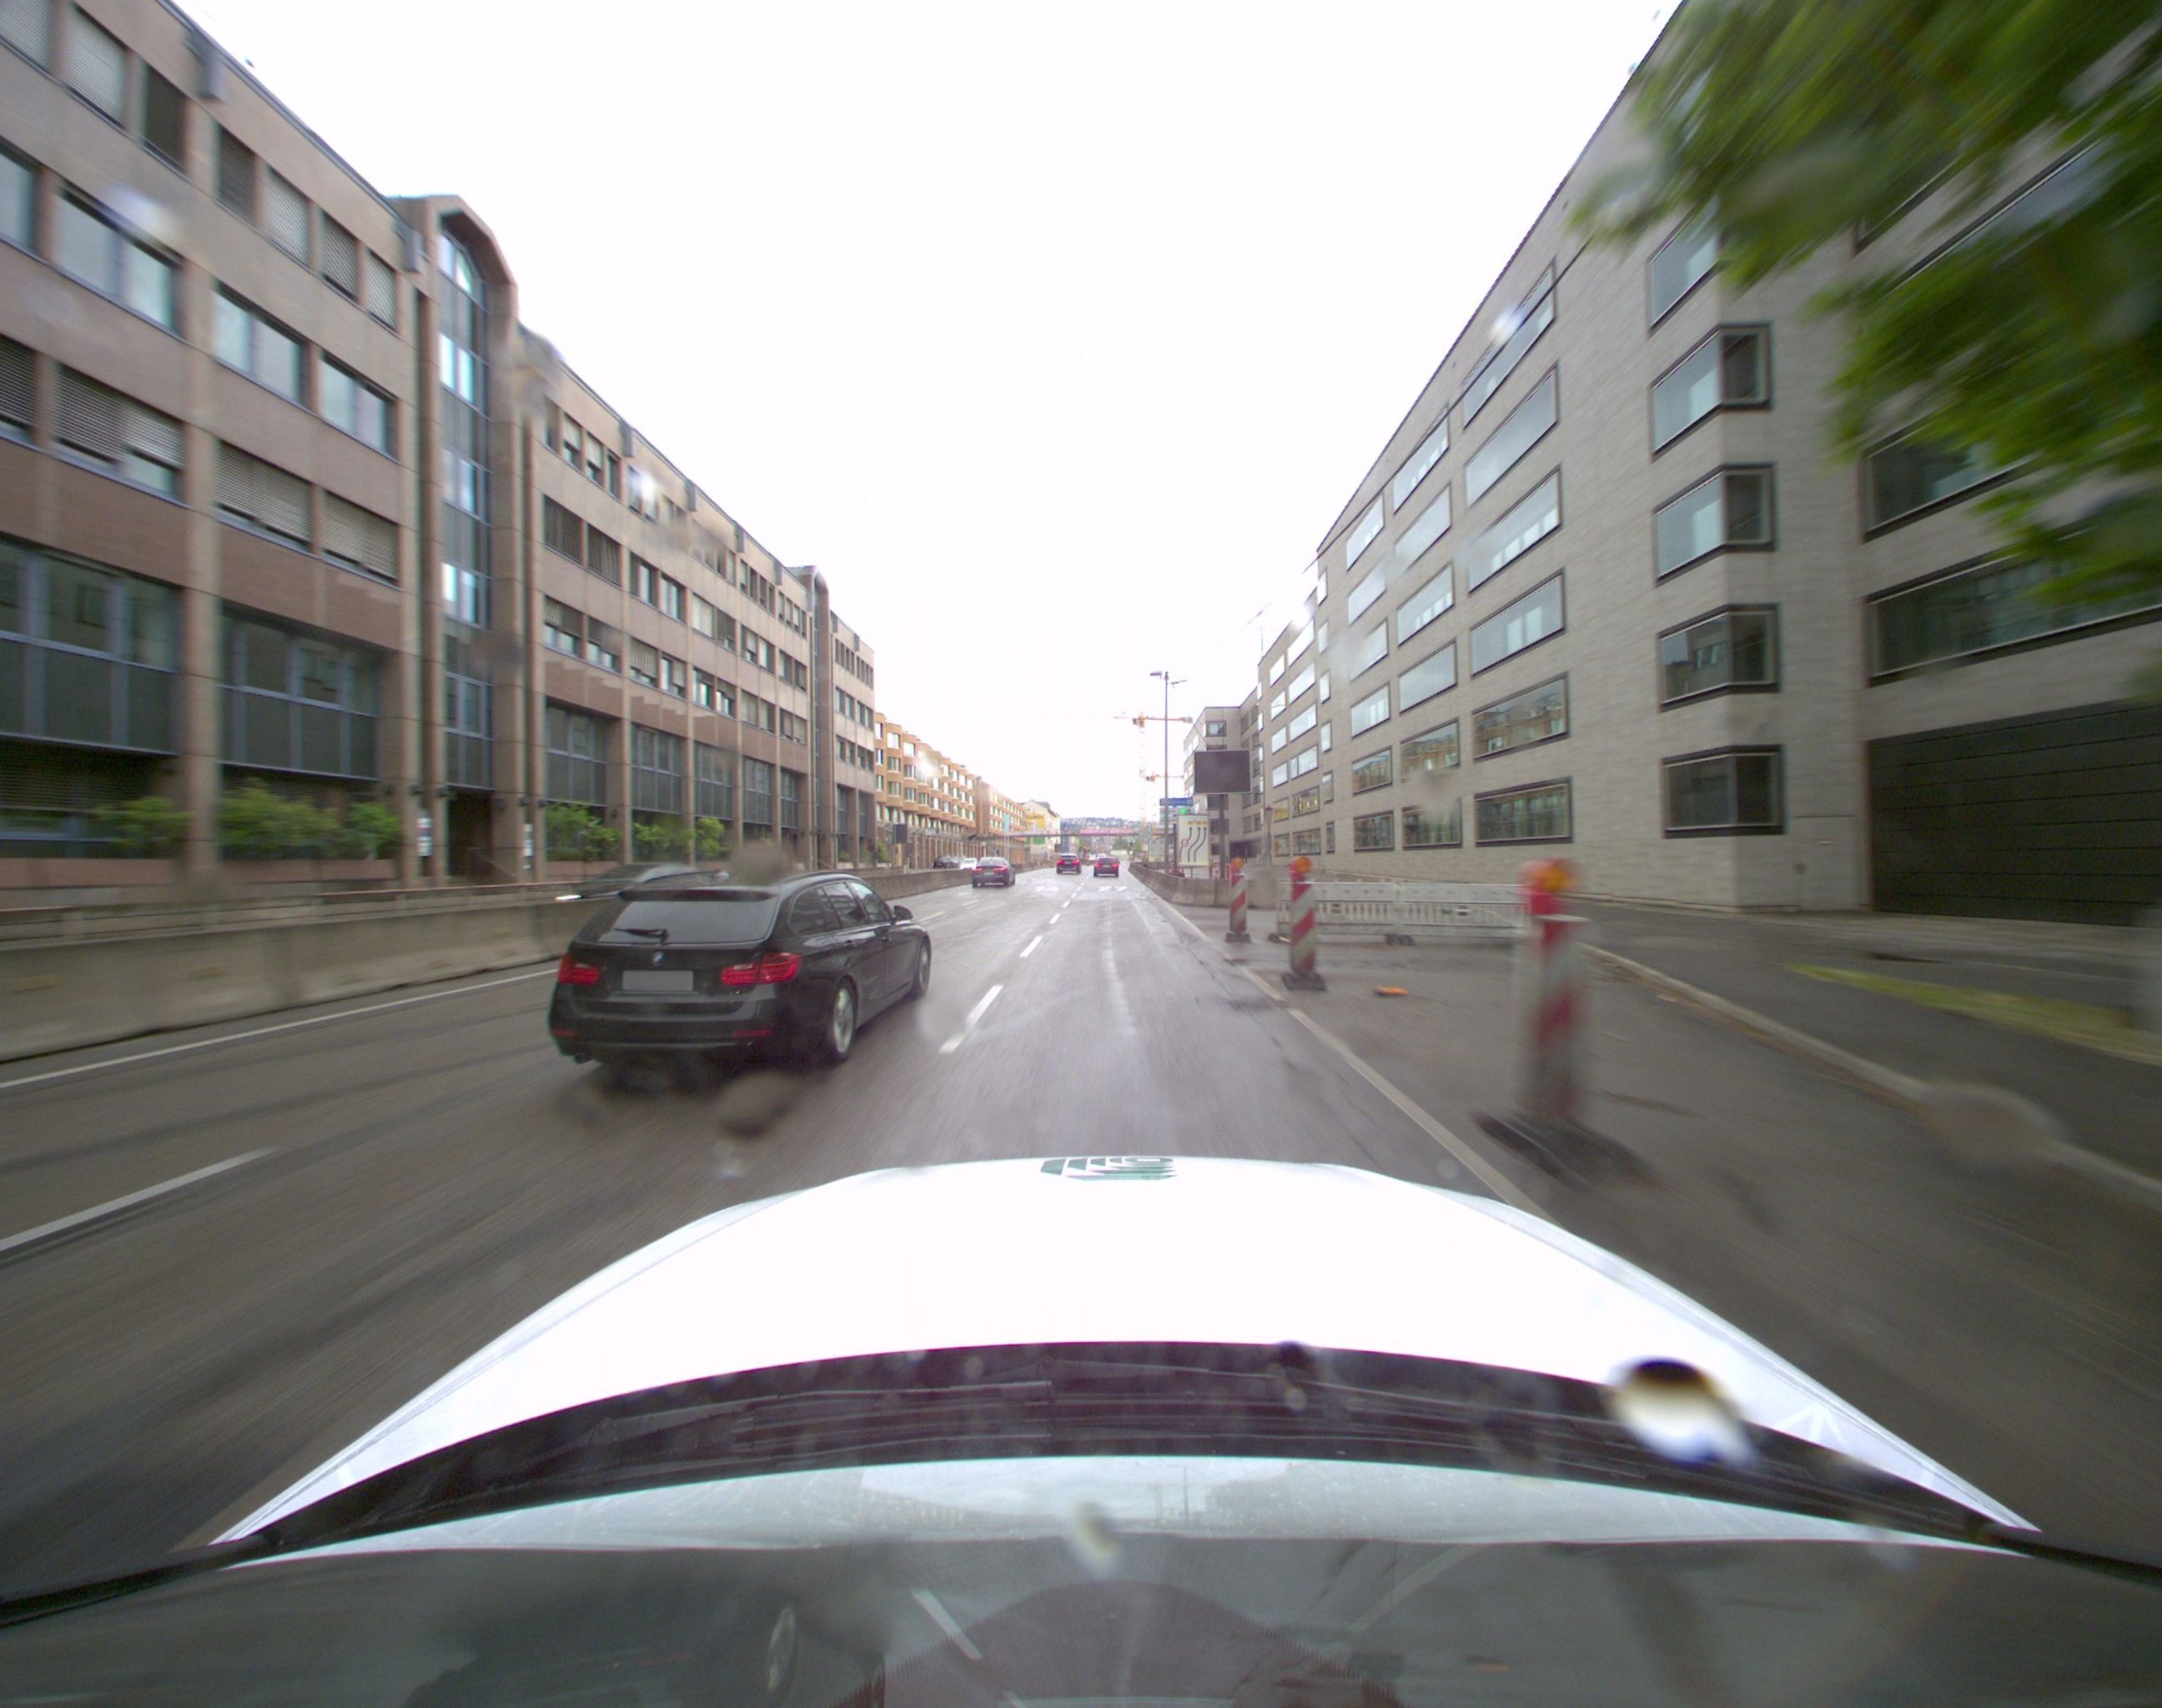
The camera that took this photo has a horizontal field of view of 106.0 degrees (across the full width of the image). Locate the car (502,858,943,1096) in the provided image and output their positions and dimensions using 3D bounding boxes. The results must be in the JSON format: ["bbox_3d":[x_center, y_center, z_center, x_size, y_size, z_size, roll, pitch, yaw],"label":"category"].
[{"bbox_3d":[-2.568,0.758,7.253,1.785,1.426,4.614,0,0,1],"label":"car"}]

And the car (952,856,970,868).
[{"bbox_3d":[-18.240,1.210,123.871,1.986,1.620,4.320,-1,0,2],"label":"car"}]

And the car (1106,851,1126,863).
[{"bbox_3d":[5.281,0.418,122.580,1.884,1.693,4.020,-2,-1,20],"label":"car"}]

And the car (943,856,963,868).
[{"bbox_3d":[-18.599,1.180,118.742,1.986,1.620,4.320,-1,0,2],"label":"car"}]

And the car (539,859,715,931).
[{"bbox_3d":[-10.833,0.904,19.852,1.854,1.533,4.231,-1,0,1],"label":"car"}]

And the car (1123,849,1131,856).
[{"bbox_3d":[12.218,-0.404,214.653,1.891,1.693,4.005,-1,0,5],"label":"car"}]

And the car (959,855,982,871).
[{"bbox_3d":[-10.919,0.863,80.801,1.596,1.442,3.659,-1,1,2],"label":"car"}]

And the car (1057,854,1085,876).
[{"bbox_3d":[-0.806,0.898,67.196,1.891,1.693,4.005,-1,0,5],"label":"car"}]

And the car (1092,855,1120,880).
[{"bbox_3d":[1.861,0.952,59.312,1.892,1.693,4.004,-1,0,4],"label":"car"}]

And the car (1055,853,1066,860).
[{"bbox_3d":[-4.582,0.545,183.474,1.985,1.620,4.768,-1,0,4],"label":"car"}]

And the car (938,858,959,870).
[{"bbox_3d":[-18.099,1.356,111.476,1.986,1.620,4.765,-1,0,2],"label":"car"}]

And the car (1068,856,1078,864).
[{"bbox_3d":[-1.960,1.479,200.151,1.985,2.014,4.003,-1,-1,3],"label":"car"}]

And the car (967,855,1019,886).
[{"bbox_3d":[-4.377,0.778,40.928,1.782,1.426,4.389,-1,0,4],"label":"car"}]
